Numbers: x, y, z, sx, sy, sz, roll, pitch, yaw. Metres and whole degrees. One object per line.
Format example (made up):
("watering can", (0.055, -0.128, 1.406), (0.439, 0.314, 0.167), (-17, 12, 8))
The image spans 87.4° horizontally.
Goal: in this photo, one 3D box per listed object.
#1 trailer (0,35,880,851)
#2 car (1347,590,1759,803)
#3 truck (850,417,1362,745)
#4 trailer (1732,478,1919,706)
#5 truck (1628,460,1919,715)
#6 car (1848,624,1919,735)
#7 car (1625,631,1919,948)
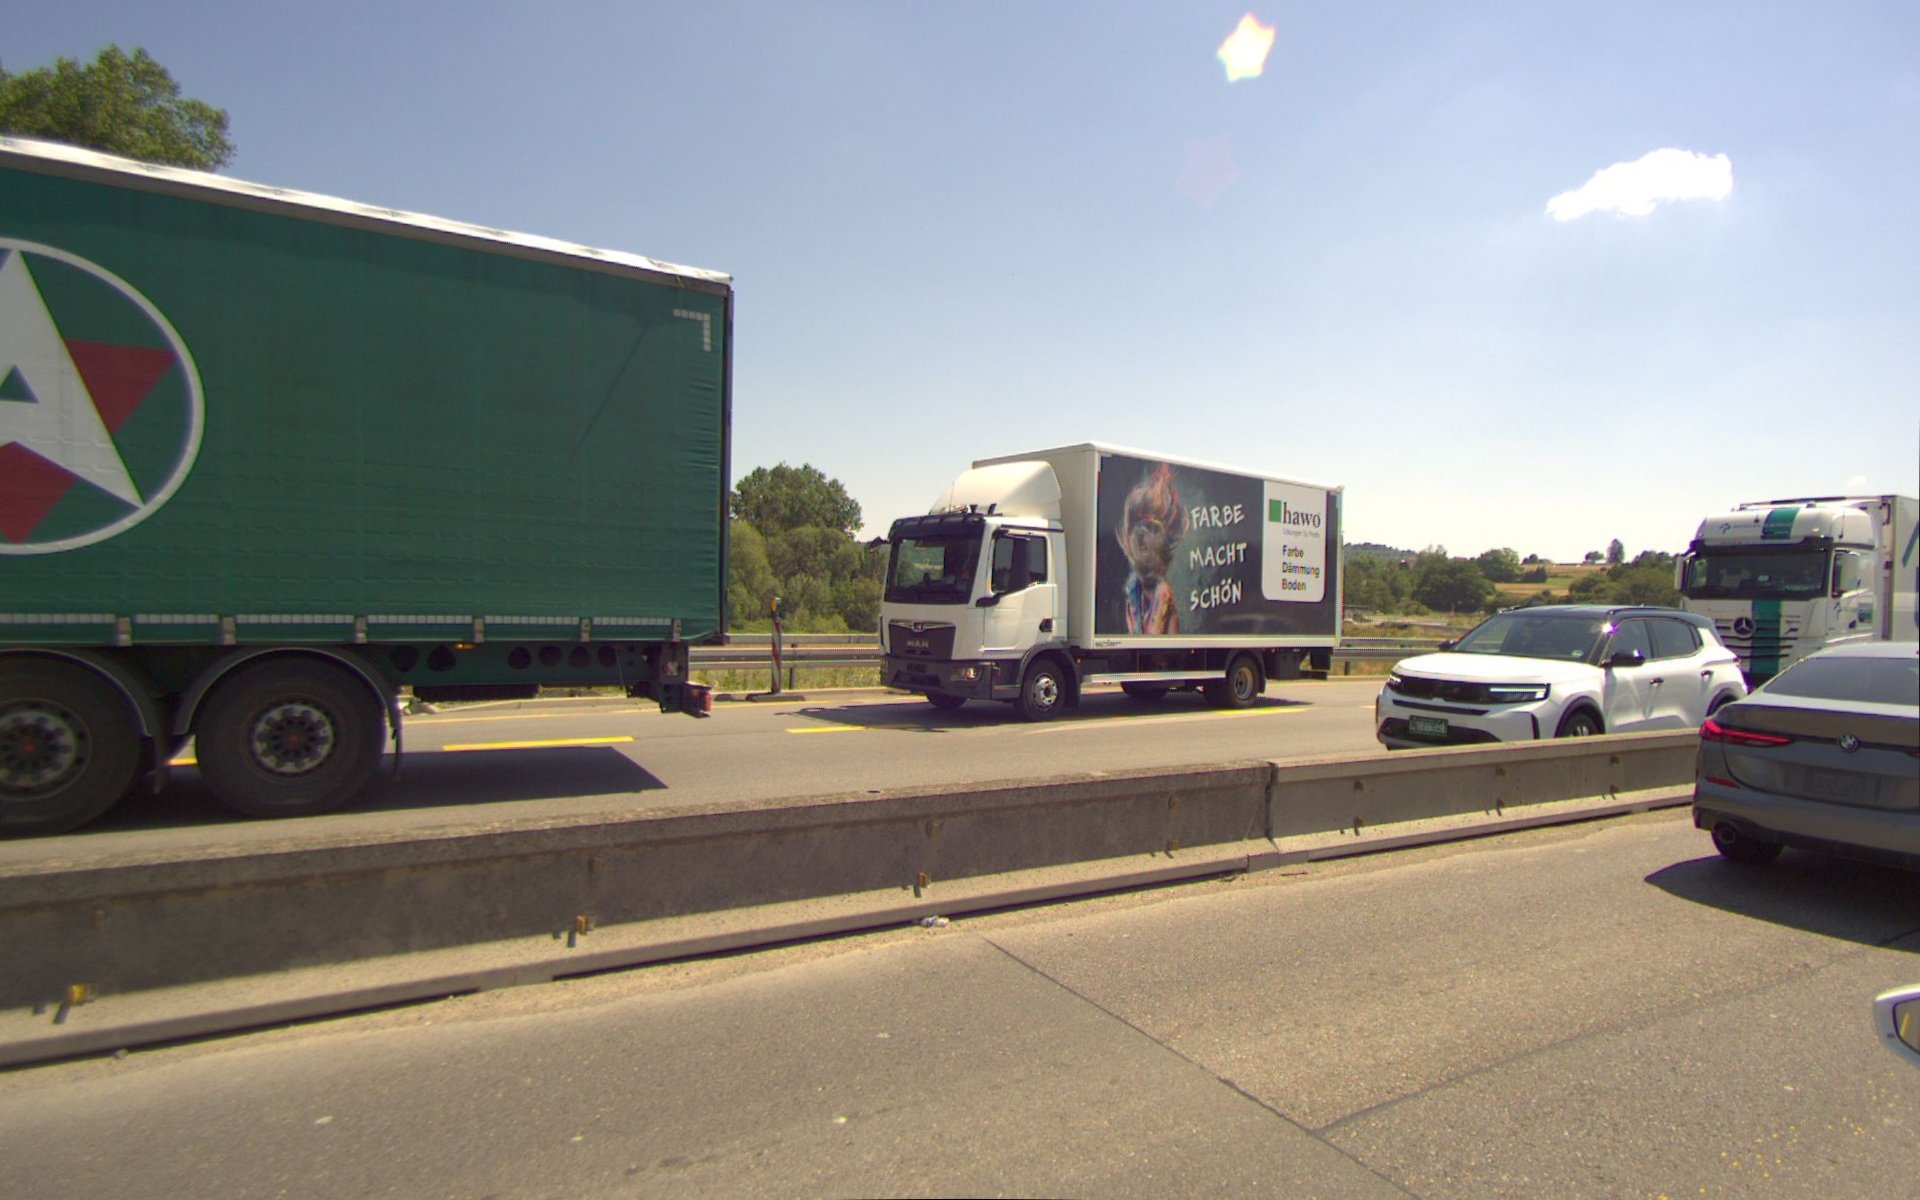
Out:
("trailer", (-6.981, -0.880, 6.378), (12.867, 4.524, 3.087), (1, -1, -31))
("car", (5.934, 0.809, 9.954), (4.108, 1.669, 1.747), (1, 2, -31))
("truck", (2.610, -0.224, 15.438), (8.295, 3.815, 2.881), (1, 1, -39))
("trailer", (23.400, 0.069, 24.293), (13.014, 4.489, 2.802), (2, -1, -30))
("truck", (16.616, -0.178, 20.272), (6.152, 4.451, 2.793), (1, 0, -30))
("car", (15.829, 1.198, 15.550), (4.924, 1.518, 1.980), (1, 2, -35))
("car", (6.449, 0.959, 6.308), (4.684, 1.471, 1.844), (1, 0, -29))
